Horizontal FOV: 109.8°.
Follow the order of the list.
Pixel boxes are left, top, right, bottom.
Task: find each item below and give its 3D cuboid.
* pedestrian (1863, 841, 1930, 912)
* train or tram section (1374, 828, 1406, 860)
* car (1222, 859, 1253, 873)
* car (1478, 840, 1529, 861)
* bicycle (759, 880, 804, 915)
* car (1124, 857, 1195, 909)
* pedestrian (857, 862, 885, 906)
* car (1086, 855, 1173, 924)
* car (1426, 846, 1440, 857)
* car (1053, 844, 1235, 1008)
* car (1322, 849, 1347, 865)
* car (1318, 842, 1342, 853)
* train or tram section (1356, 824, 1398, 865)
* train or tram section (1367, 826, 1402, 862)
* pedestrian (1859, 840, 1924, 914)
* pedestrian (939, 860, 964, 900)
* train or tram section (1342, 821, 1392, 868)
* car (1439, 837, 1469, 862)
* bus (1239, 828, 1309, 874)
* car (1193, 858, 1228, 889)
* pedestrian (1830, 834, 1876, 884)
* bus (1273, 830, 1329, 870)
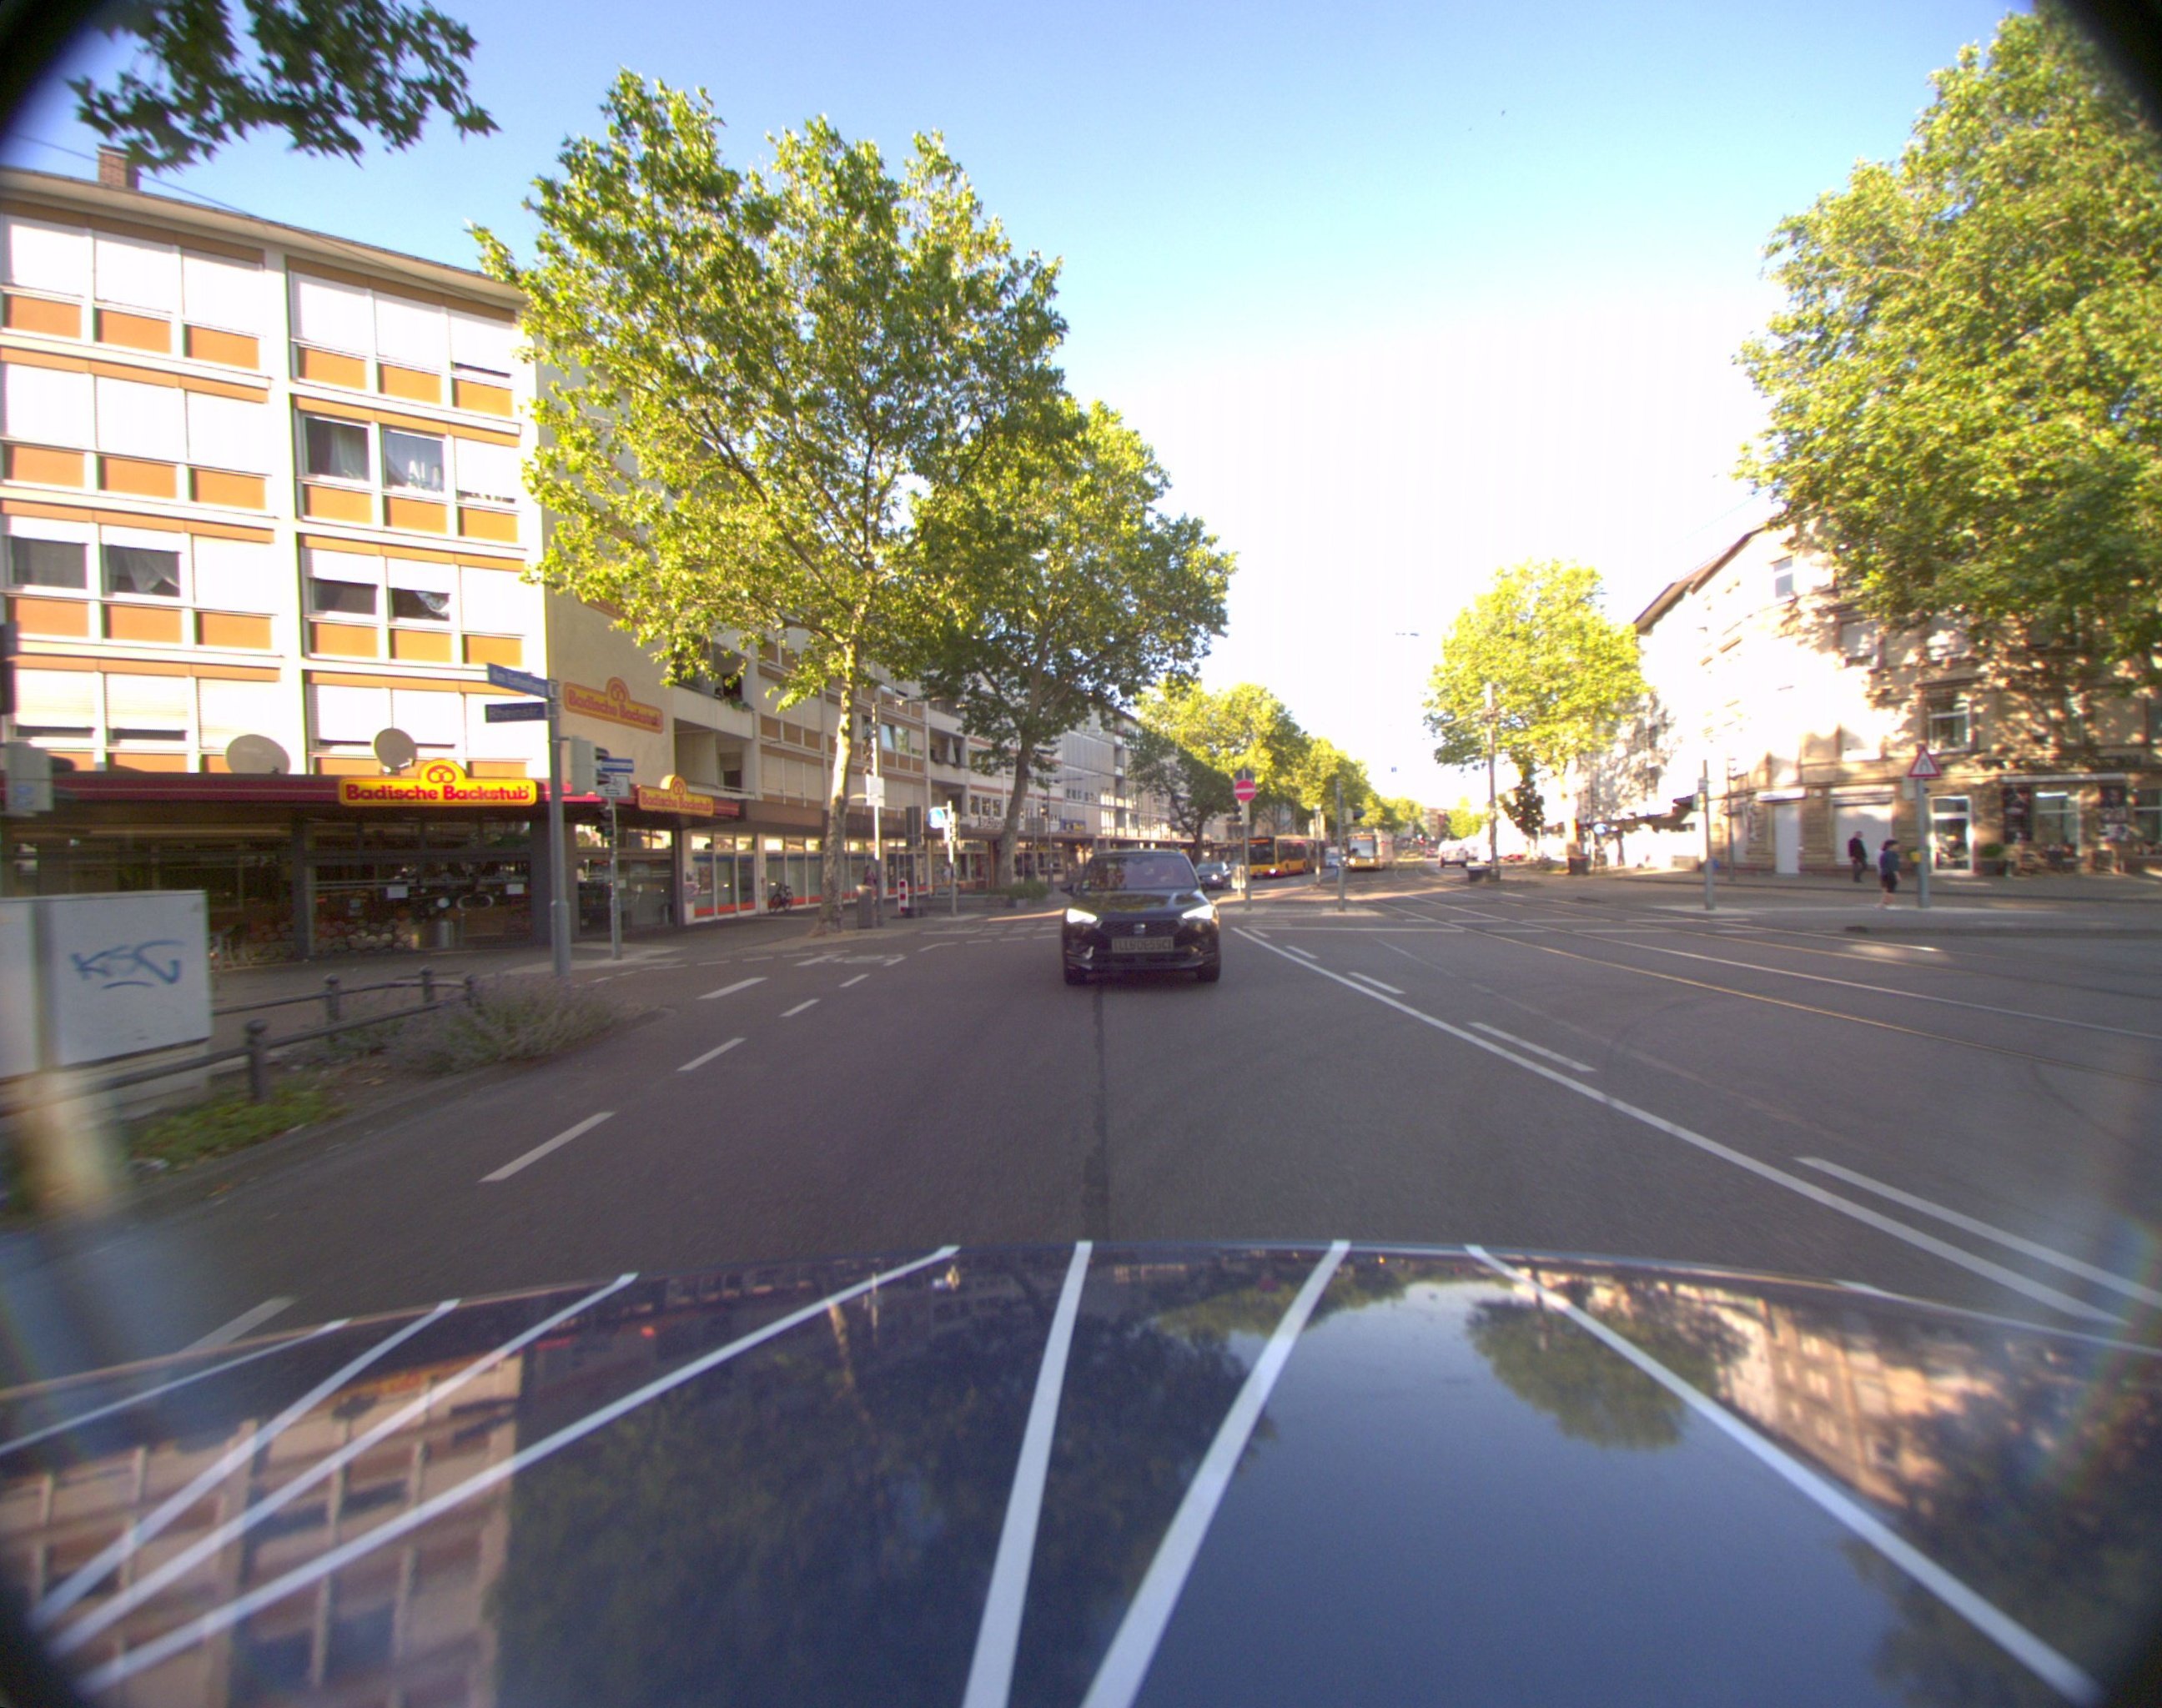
[{"bbox_3d":[17.873,0.486,16.656,0.799,1.499,0.800,-2,0,-29],"label":"pedestrian"},{"bbox_3d":[36.883,-1.170,90.430,2.838,3.467,10.355,-2,0,25],"label":"train or tram section"},{"bbox_3d":[15.102,1.110,73.157,2.630,1.209,1.199,-2,1,-13],"label":"car"},{"bbox_3d":[43.376,-0.327,78.025,4.653,1.965,1.901,-2,0,-17],"label":"car"},{"bbox_3d":[-10.661,1.542,27.118,0.528,1.136,1.976,-2,0,9],"label":"bicycle"},{"bbox_3d":[2.951,0.996,27.674,1.846,1.648,4.303,-3,0,15],"label":"car"},{"bbox_3d":[-8.665,1.232,31.351,0.749,1.747,0.902,-2,0,11],"label":"pedestrian"},{"bbox_3d":[1.492,0.916,21.608,1.847,1.648,4.655,-3,0,10],"label":"car"},{"bbox_3d":[58.296,-0.417,125.905,1.813,1.766,4.006,-2,0,22],"label":"car"},{"bbox_3d":[0.668,0.774,10.233,1.848,1.648,4.299,-3,0,0],"label":"car"},{"bbox_3d":[27.274,0.307,81.654,1.908,1.467,4.425,-2,1,26],"label":"car"},{"bbox_3d":[47.770,-1.279,145.978,4.002,2.002,1.878,-2,0,-14],"label":"car"},{"bbox_3d":[28.044,-0.911,71.631,2.838,3.467,10.355,-2,0,25],"label":"train or tram section"},{"bbox_3d":[32.461,-1.036,81.036,2.873,3.467,10.355,-2,0,25],"label":"train or tram section"},{"bbox_3d":[17.201,0.477,16.135,0.799,1.499,0.800,-2,0,-34],"label":"pedestrian"},{"bbox_3d":[-5.828,1.150,34.220,0.749,1.747,0.902,-2,0,11],"label":"pedestrian"},{"bbox_3d":[23.534,-0.792,62.256,2.819,3.467,10.356,-2,0,26],"label":"train or tram section"},{"bbox_3d":[33.348,-0.393,68.026,2.163,2.109,4.986,-1,0,23],"label":"car"},{"bbox_3d":[14.262,-0.233,55.576,2.748,3.085,9.514,-2,0,28],"label":"bus"},{"bbox_3d":[6.608,0.961,39.015,1.650,1.463,3.711,-2,-1,9],"label":"car"},{"bbox_3d":[28.120,0.184,27.685,0.797,1.745,0.802,-2,0,-6],"label":"pedestrian"},{"bbox_3d":[18.659,-0.352,64.038,2.748,3.085,9.513,-2,0,27],"label":"bus"}]
